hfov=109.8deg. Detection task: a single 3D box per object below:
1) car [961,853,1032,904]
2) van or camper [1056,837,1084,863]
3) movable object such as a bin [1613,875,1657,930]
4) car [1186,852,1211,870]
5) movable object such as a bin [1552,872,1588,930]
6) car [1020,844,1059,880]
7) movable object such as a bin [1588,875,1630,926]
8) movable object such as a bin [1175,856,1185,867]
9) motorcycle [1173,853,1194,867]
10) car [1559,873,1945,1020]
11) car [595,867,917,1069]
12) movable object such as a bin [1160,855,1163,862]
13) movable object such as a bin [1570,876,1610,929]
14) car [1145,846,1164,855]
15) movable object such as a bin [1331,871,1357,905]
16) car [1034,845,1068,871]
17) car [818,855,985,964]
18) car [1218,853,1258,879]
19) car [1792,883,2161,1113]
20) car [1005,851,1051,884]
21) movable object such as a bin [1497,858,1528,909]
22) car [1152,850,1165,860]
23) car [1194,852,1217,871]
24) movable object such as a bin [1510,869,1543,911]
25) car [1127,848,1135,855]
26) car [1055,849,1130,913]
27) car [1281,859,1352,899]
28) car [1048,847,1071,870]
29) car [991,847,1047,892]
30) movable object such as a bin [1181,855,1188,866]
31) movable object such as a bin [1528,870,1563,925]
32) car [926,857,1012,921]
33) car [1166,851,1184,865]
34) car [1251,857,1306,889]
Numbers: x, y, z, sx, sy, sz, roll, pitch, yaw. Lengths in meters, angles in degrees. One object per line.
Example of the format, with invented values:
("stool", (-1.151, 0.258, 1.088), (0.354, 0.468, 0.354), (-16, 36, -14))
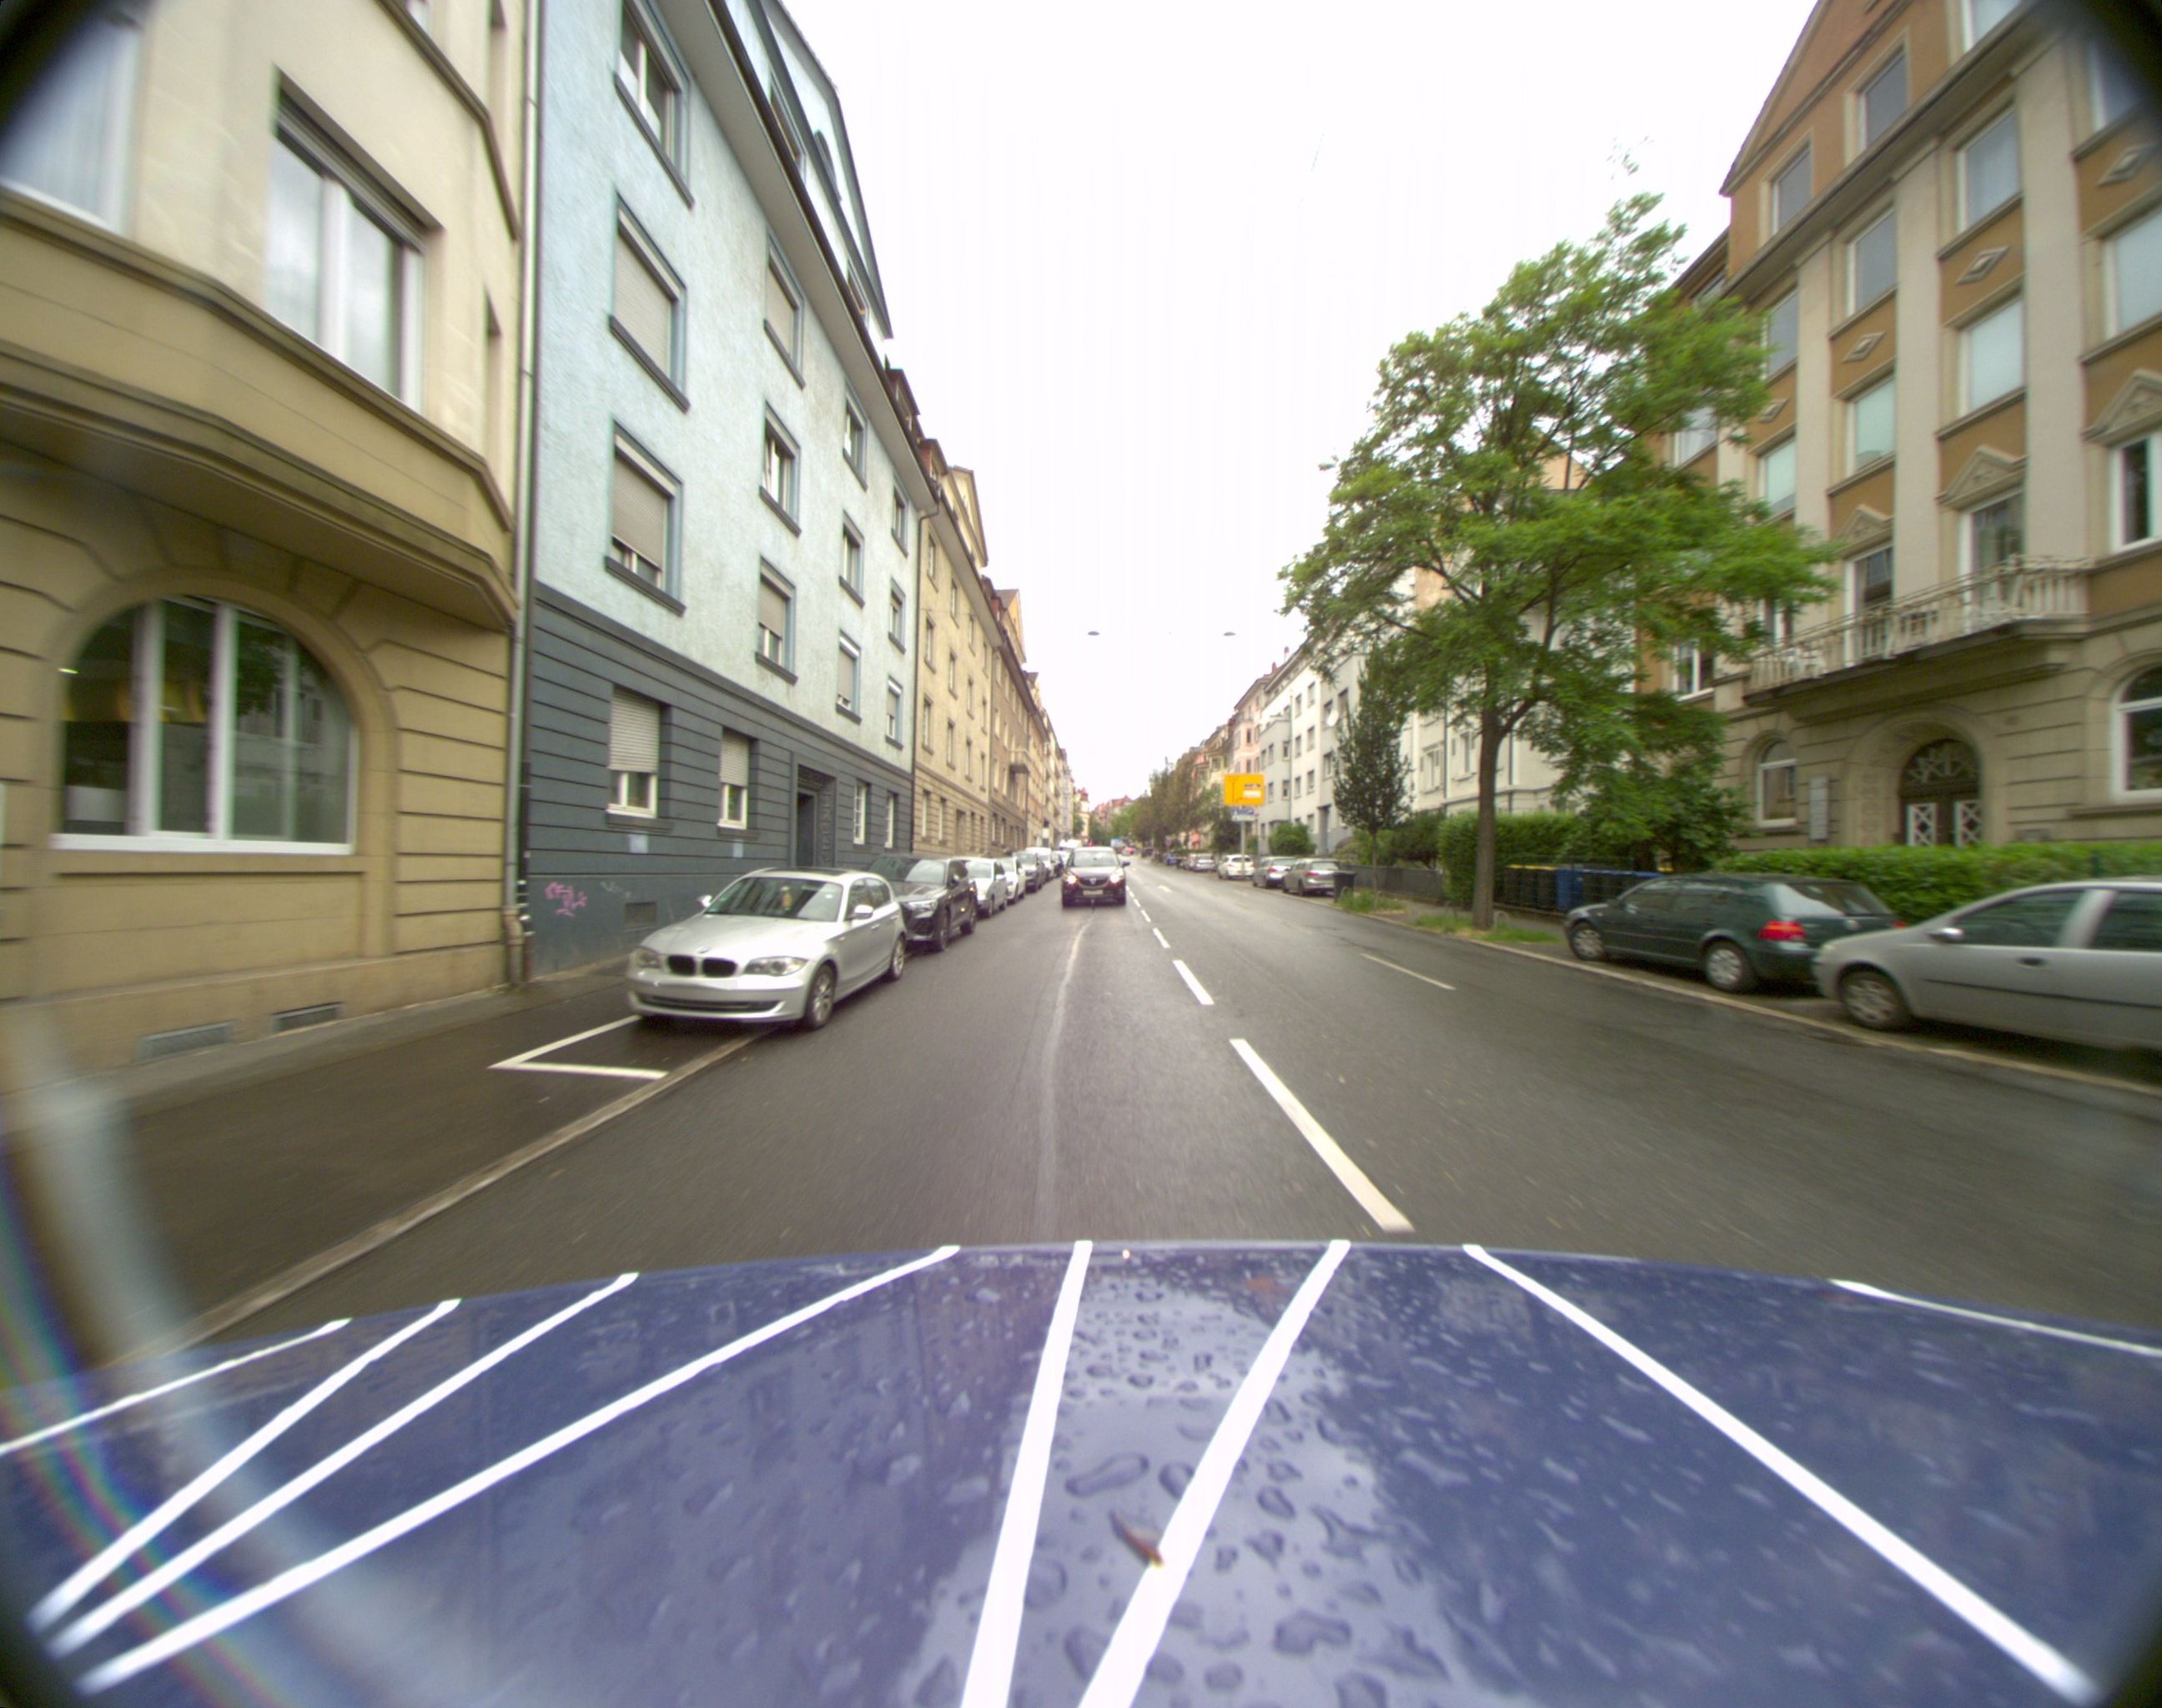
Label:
("car", (-2.699, 0.732, 24.965), (1.733, 1.421, 3.973), (3, 1, 1))
("van or camper", (-1.142, -0.416, 82.400), (2.188, 2.684, 6.422), (1, 1, 7))
("movable object such as a bin", (11.275, 0.974, 15.466), (0.440, 1.075, 0.590), (1, 1, 1))
("car", (10.253, 0.579, 66.566), (1.604, 1.389, 3.886), (0, 2, 1))
("movable object such as a bin", (11.370, 1.074, 17.676), (0.440, 1.301, 0.609), (1, 1, 1))
("car", (-2.250, 0.396, 42.095), (1.795, 1.807, 4.080), (2, 1, 1))
("movable object such as a bin", (11.260, 0.977, 16.210), (0.427, 1.035, 0.650), (1, 1, 1))
("movable object such as a bin", (9.633, 0.706, 73.969), (0.826, 1.052, 0.483), (-2, 2, 3))
("motorcycle", (9.627, 0.564, 71.417), (1.806, 1.307, 0.743), (2, 1, 43))
("car", (8.492, 1.053, 10.178), (1.658, 1.445, 3.942), (0, 1, 0))
("car", (-3.082, 0.958, 8.200), (1.573, 1.455, 4.089), (2, 1, 2))
("movable object such as a bin", (10.663, 0.616, 100.423), (0.365, 0.884, 0.572), (-1, 1, 1))
("movable object such as a bin", (11.321, 1.071, 16.909), (0.440, 1.124, 0.657), (1, 1, 1))
("car", (16.102, -0.753, 165.865), (3.929, 1.836, 1.867), (-3, 2, -1))
("movable object such as a bin", (8.543, 1.112, 24.687), (0.631, 1.052, 0.600), (1, 2, 2))
("car", (-1.874, 0.213, 48.141), (1.795, 1.539, 4.226), (2, 1, 2))
("car", (-3.025, 0.849, 13.752), (1.822, 1.549, 4.293), (2, 1, 2))
("car", (9.410, 0.687, 45.846), (1.650, 1.499, 3.796), (0, 1, 0))
("car", (8.161, 1.036, 5.875), (1.636, 1.445, 3.838), (0, 1, -2))
("car", (-2.490, 0.628, 36.942), (1.845, 1.401, 4.387), (2, 1, 0))
("movable object such as a bin", (11.403, 0.769, 20.084), (0.440, 1.292, 0.650), (1, 1, 1))
("car", (11.880, 0.131, 116.271), (1.685, 1.410, 4.137), (1, 1, 2))
("car", (10.079, 0.614, 61.676), (1.604, 1.443, 3.889), (-1, 0, 5))
("movable object such as a bin", (11.350, 0.919, 19.363), (0.440, 1.033, 0.650), (1, 1, 1))
("car", (11.536, -0.690, 176.071), (1.771, 1.540, 3.652), (-1, 2, 1))
("car", (0.294, 0.701, 21.913), (1.889, 1.543, 3.999), (-2, 1, 0))
("car", (9.083, 0.917, 29.586), (1.686, 1.382, 3.936), (-1, 1, 2))
("car", (-1.649, 0.353, 60.375), (1.636, 1.629, 4.194), (3, 1, 0))
("car", (-2.459, 0.569, 31.117), (1.845, 1.612, 4.207), (2, 1, 0))
("movable object such as a bin", (9.912, 0.651, 72.862), (0.526, 1.052, 0.482), (-3, 2, -20))
("movable object such as a bin", (11.352, 1.052, 18.575), (0.440, 1.301, 0.650), (1, 1, 1))
("car", (-2.834, 0.843, 19.976), (1.587, 1.421, 3.595), (3, 1, 1))
("car", (10.759, 0.430, 87.320), (1.683, 1.378, 4.602), (1, 2, 2))
("car", (9.144, 0.838, 35.404), (1.686, 1.382, 3.909), (-1, 0, 2))
